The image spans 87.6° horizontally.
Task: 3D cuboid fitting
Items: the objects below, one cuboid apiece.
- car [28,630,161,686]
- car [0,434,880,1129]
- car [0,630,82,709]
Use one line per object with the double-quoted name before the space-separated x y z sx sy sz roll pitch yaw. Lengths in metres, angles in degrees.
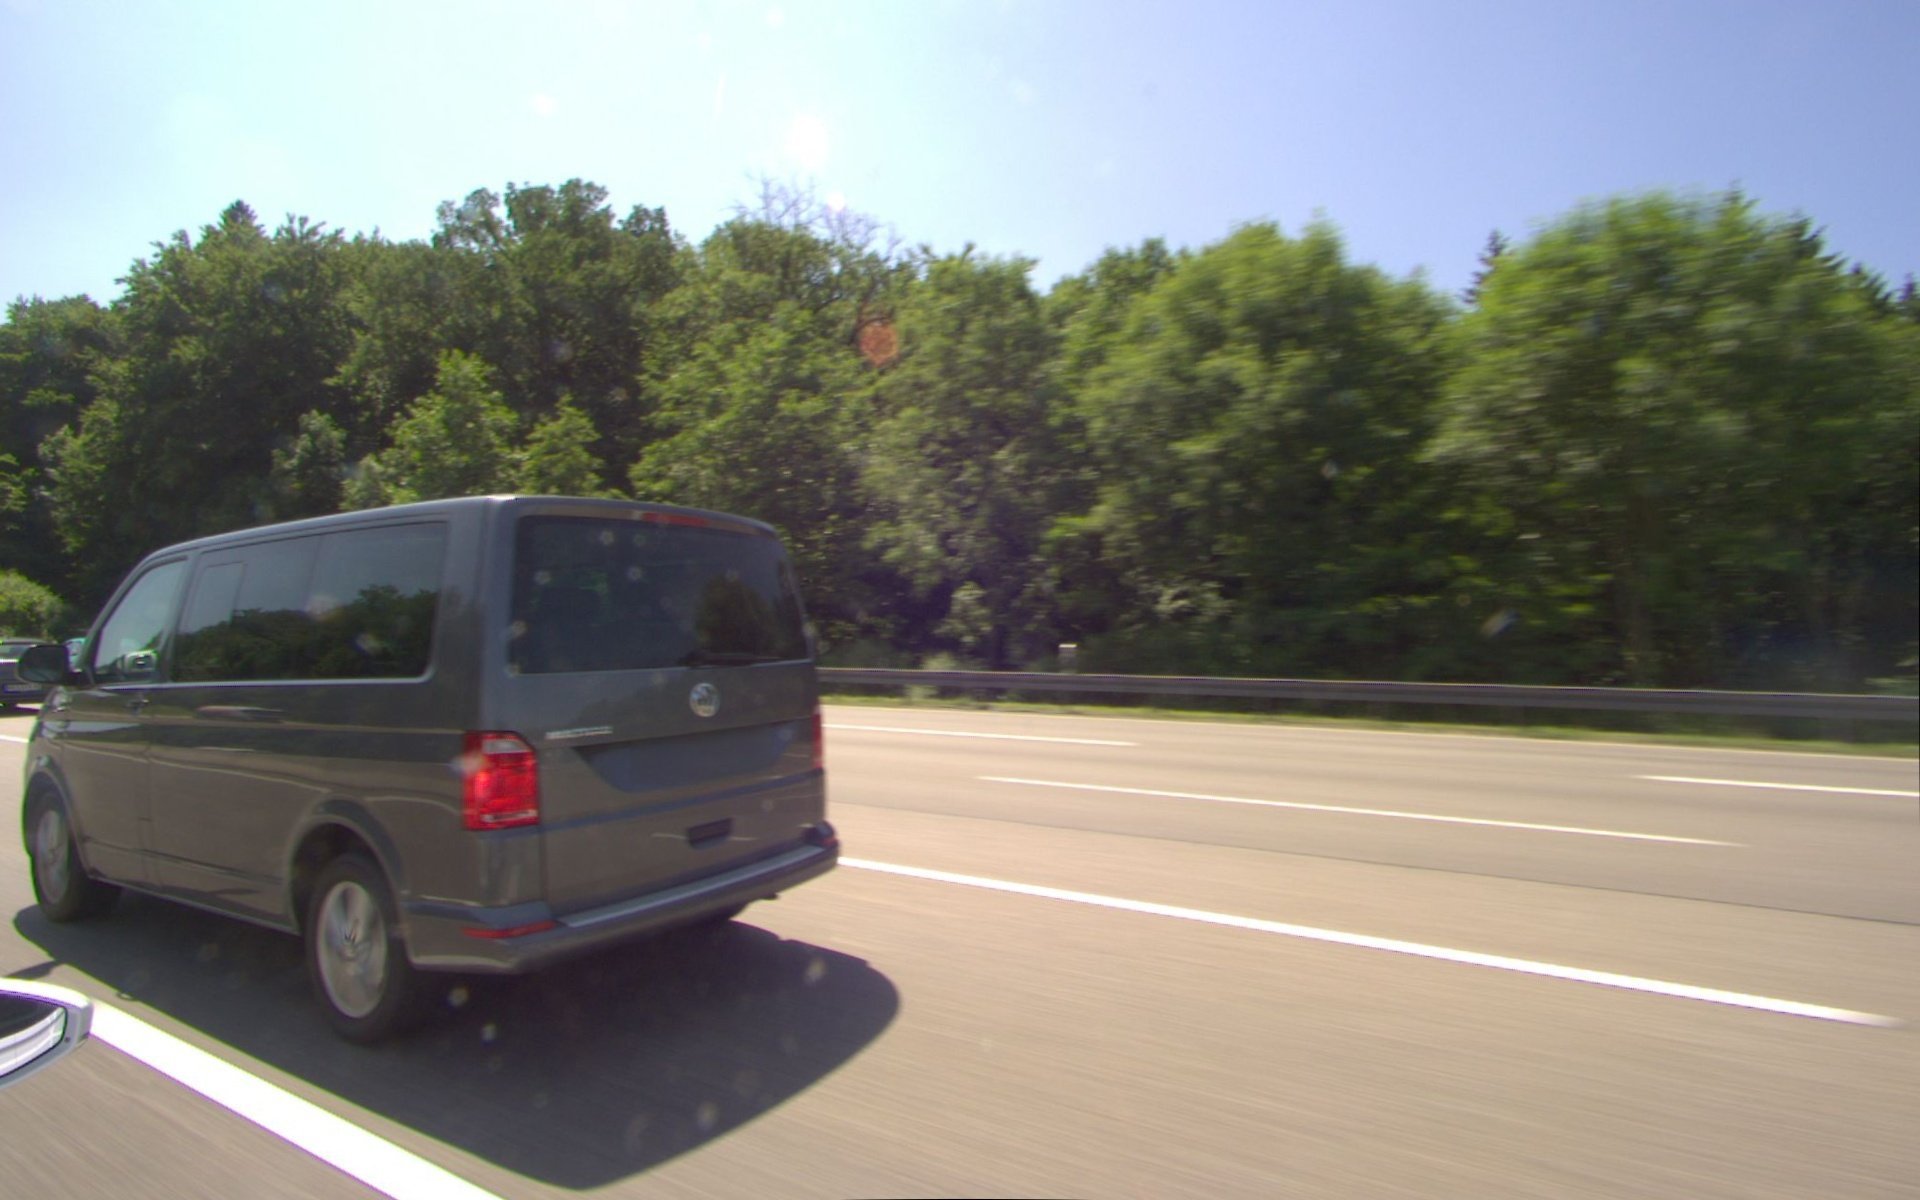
"car" -24.055 1.594 27.796 4.278 1.462 1.543 -2 -3 31
"car" -3.000 0.602 5.153 5.011 2.059 1.959 -1 -2 32
"car" -18.798 1.294 19.288 4.094 1.414 1.700 -1 -2 32
